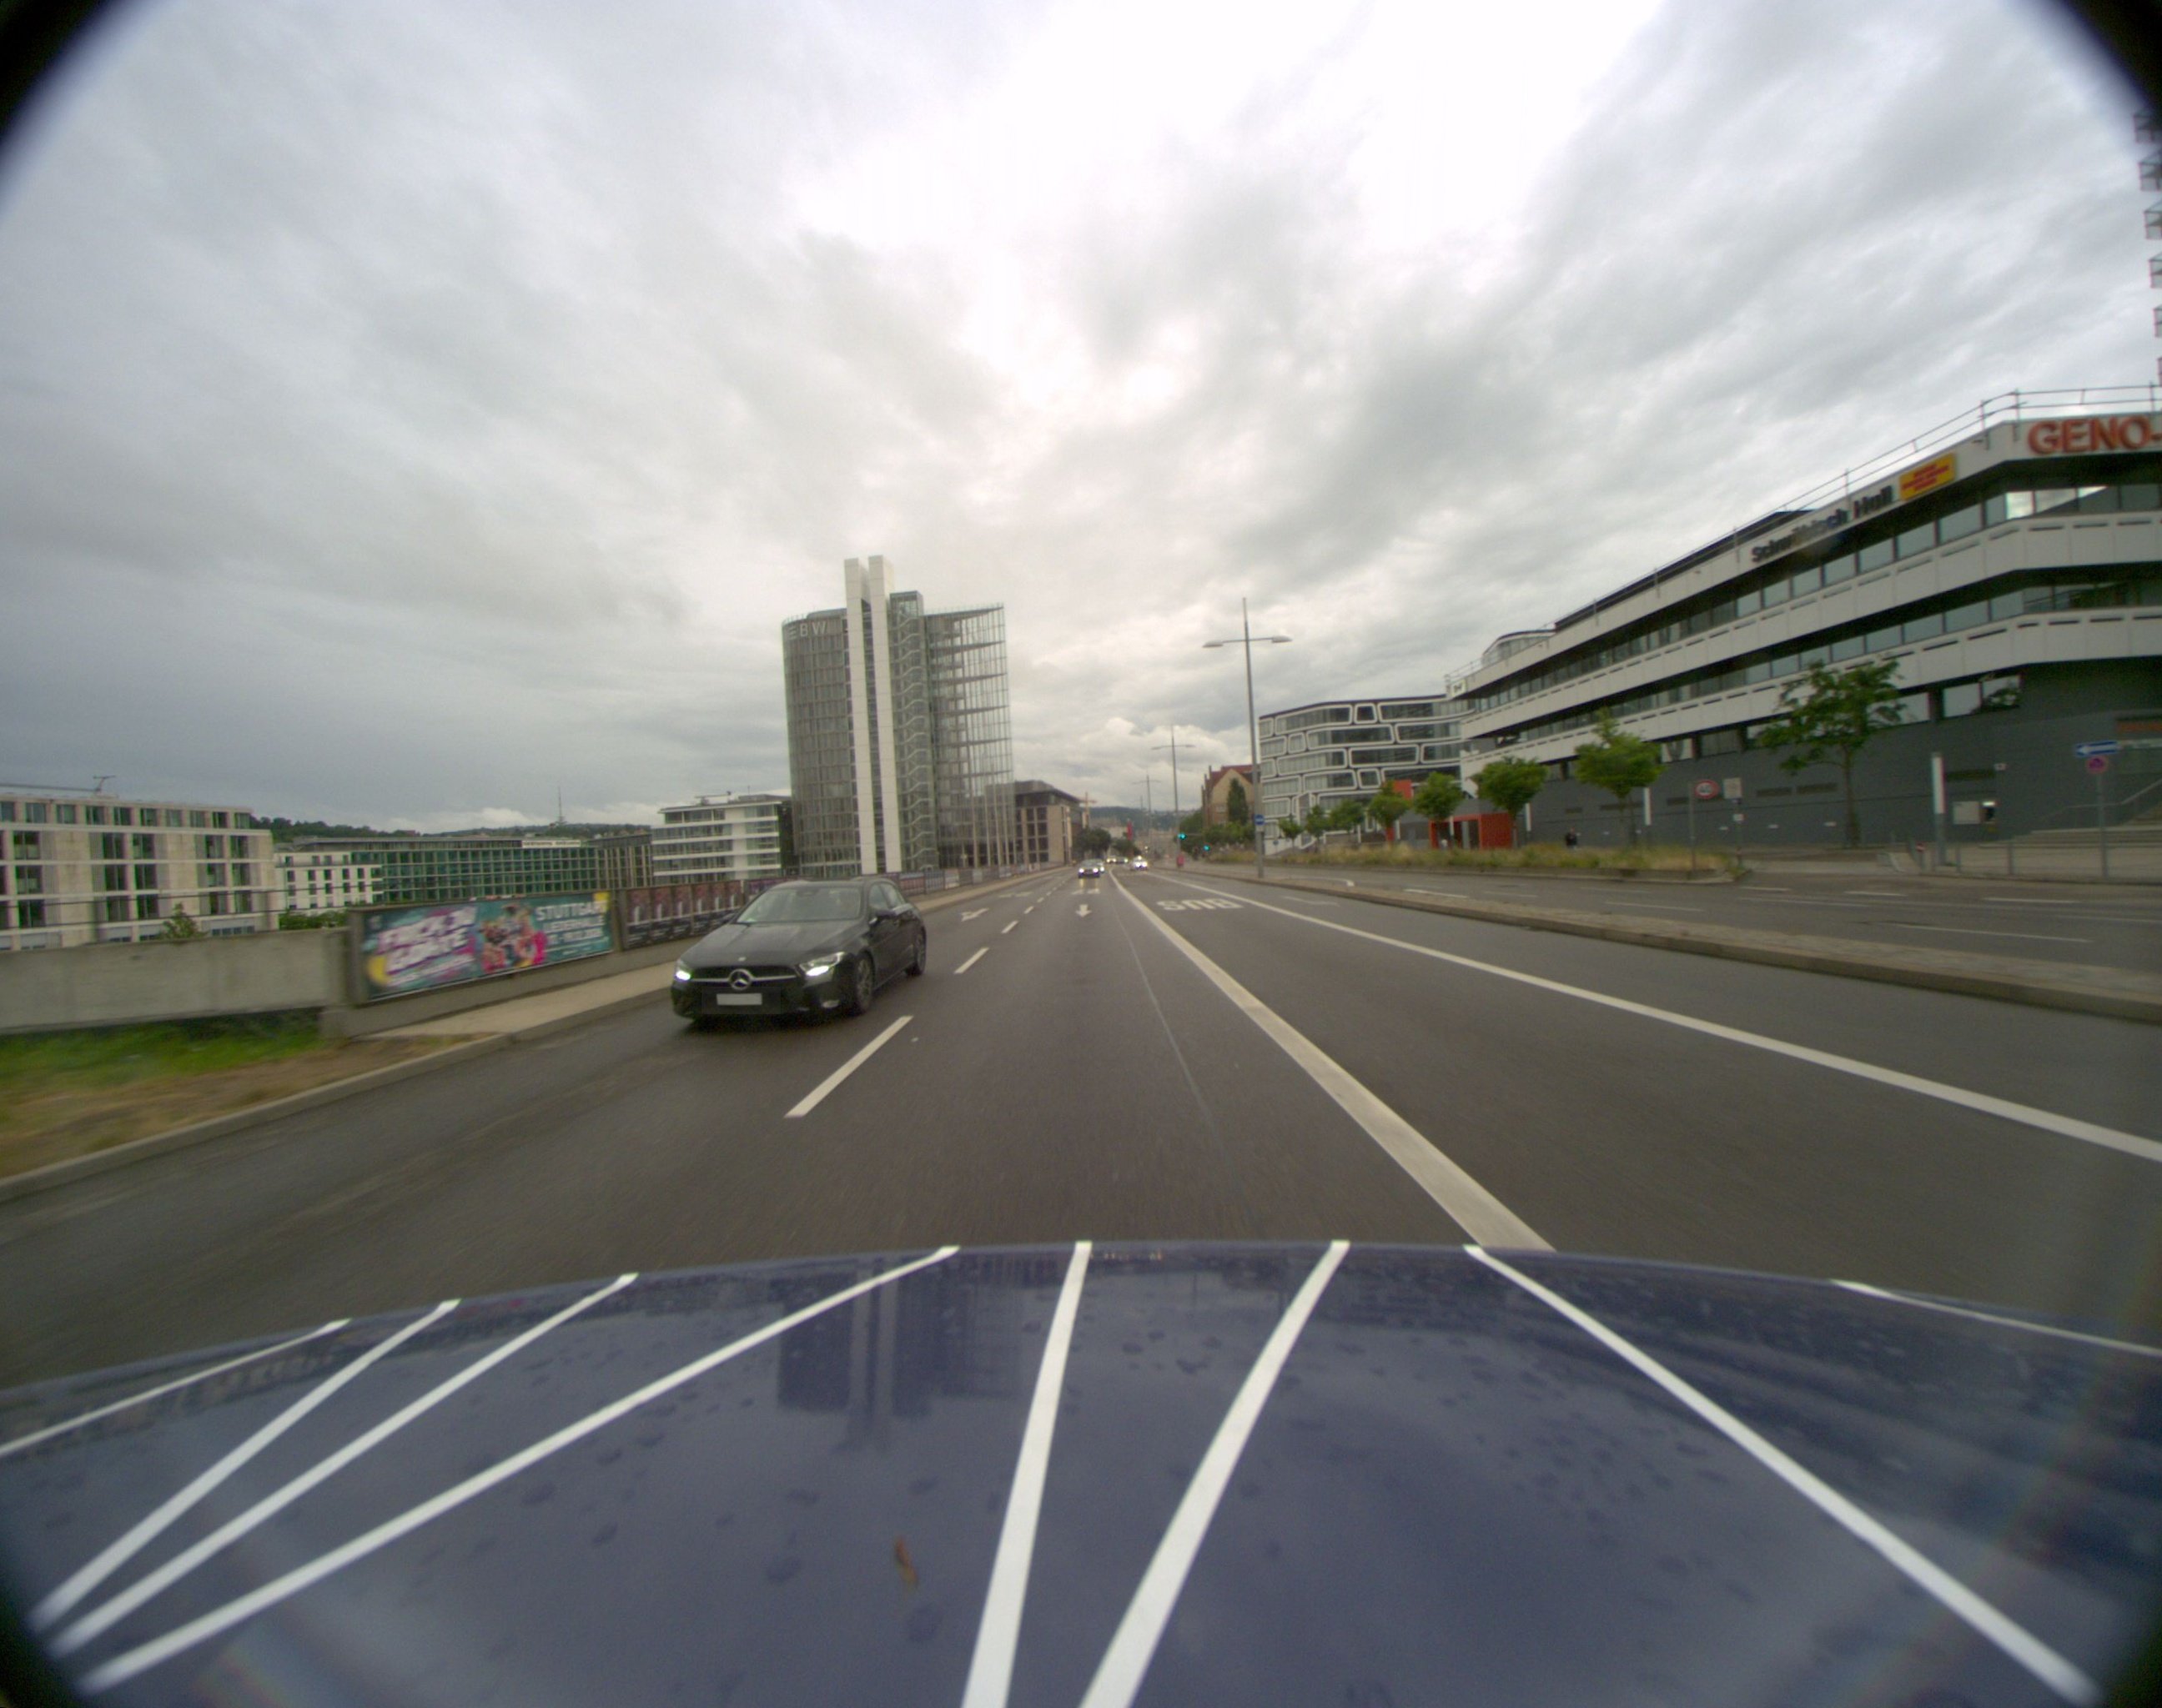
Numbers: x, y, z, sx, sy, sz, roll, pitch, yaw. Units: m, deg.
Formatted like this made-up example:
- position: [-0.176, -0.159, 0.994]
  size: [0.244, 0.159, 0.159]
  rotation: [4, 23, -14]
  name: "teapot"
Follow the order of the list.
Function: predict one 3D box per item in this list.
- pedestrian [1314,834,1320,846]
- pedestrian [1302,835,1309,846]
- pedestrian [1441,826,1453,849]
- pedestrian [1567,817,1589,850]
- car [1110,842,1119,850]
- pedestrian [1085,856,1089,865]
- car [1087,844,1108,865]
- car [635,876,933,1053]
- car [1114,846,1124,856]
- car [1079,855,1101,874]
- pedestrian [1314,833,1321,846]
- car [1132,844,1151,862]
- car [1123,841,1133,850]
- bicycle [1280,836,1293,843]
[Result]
- position: [32.989, -1.966, 106.241]
  size: [0.612, 1.602, 0.640]
  rotation: [-4, 2, 5]
  name: "pedestrian"
- position: [28.525, -1.741, 96.555]
  size: [0.619, 1.438, 0.798]
  rotation: [-2, 2, 3]
  name: "pedestrian"
- position: [29.429, -1.319, 61.073]
  size: [0.631, 1.797, 0.628]
  rotation: [-2, 2, 2]
  name: "pedestrian"
- position: [27.664, -1.141, 42.306]
  size: [0.786, 1.797, 0.628]
  rotation: [-2, 2, 2]
  name: "pedestrian"
- position: [8.297, -1.994, 186.805]
  size: [1.998, 2.002, 3.999]
  rotation: [-3, 2, 1]
  name: "car"
- position: [1.160, 1.199, 145.782]
  size: [0.660, 1.601, 0.547]
  rotation: [-3, 1, 8]
  name: "pedestrian"
- position: [1.707, 0.068, 79.367]
  size: [1.998, 2.002, 3.999]
  rotation: [-3, 2, 1]
  name: "car"
- position: [-3.030, 1.038, 8.793]
  size: [1.727, 1.368, 4.155]
  rotation: [-3, 0, 0]
  name: "car"
- position: [8.356, -0.656, 167.609]
  size: [1.998, 2.002, 3.999]
  rotation: [-3, 2, 1]
  name: "car"
- position: [0.723, 0.841, 61.870]
  size: [1.684, 1.379, 3.475]
  rotation: [-3, 2, 1]
  name: "car"
- position: [30.071, -1.894, 96.610]
  size: [0.619, 1.649, 0.798]
  rotation: [-1, 2, 3]
  name: "pedestrian"
- position: [6.963, -0.142, 87.227]
  size: [1.969, 1.816, 3.928]
  rotation: [-3, 2, 7]
  name: "car"
- position: [11.337, -2.028, 182.752]
  size: [1.998, 2.002, 3.999]
  rotation: [-3, 2, 1]
  name: "car"
- position: [26.294, -1.876, 97.326]
  size: [0.610, 0.852, 1.653]
  rotation: [-4, 2, -32]
  name: "bicycle"
